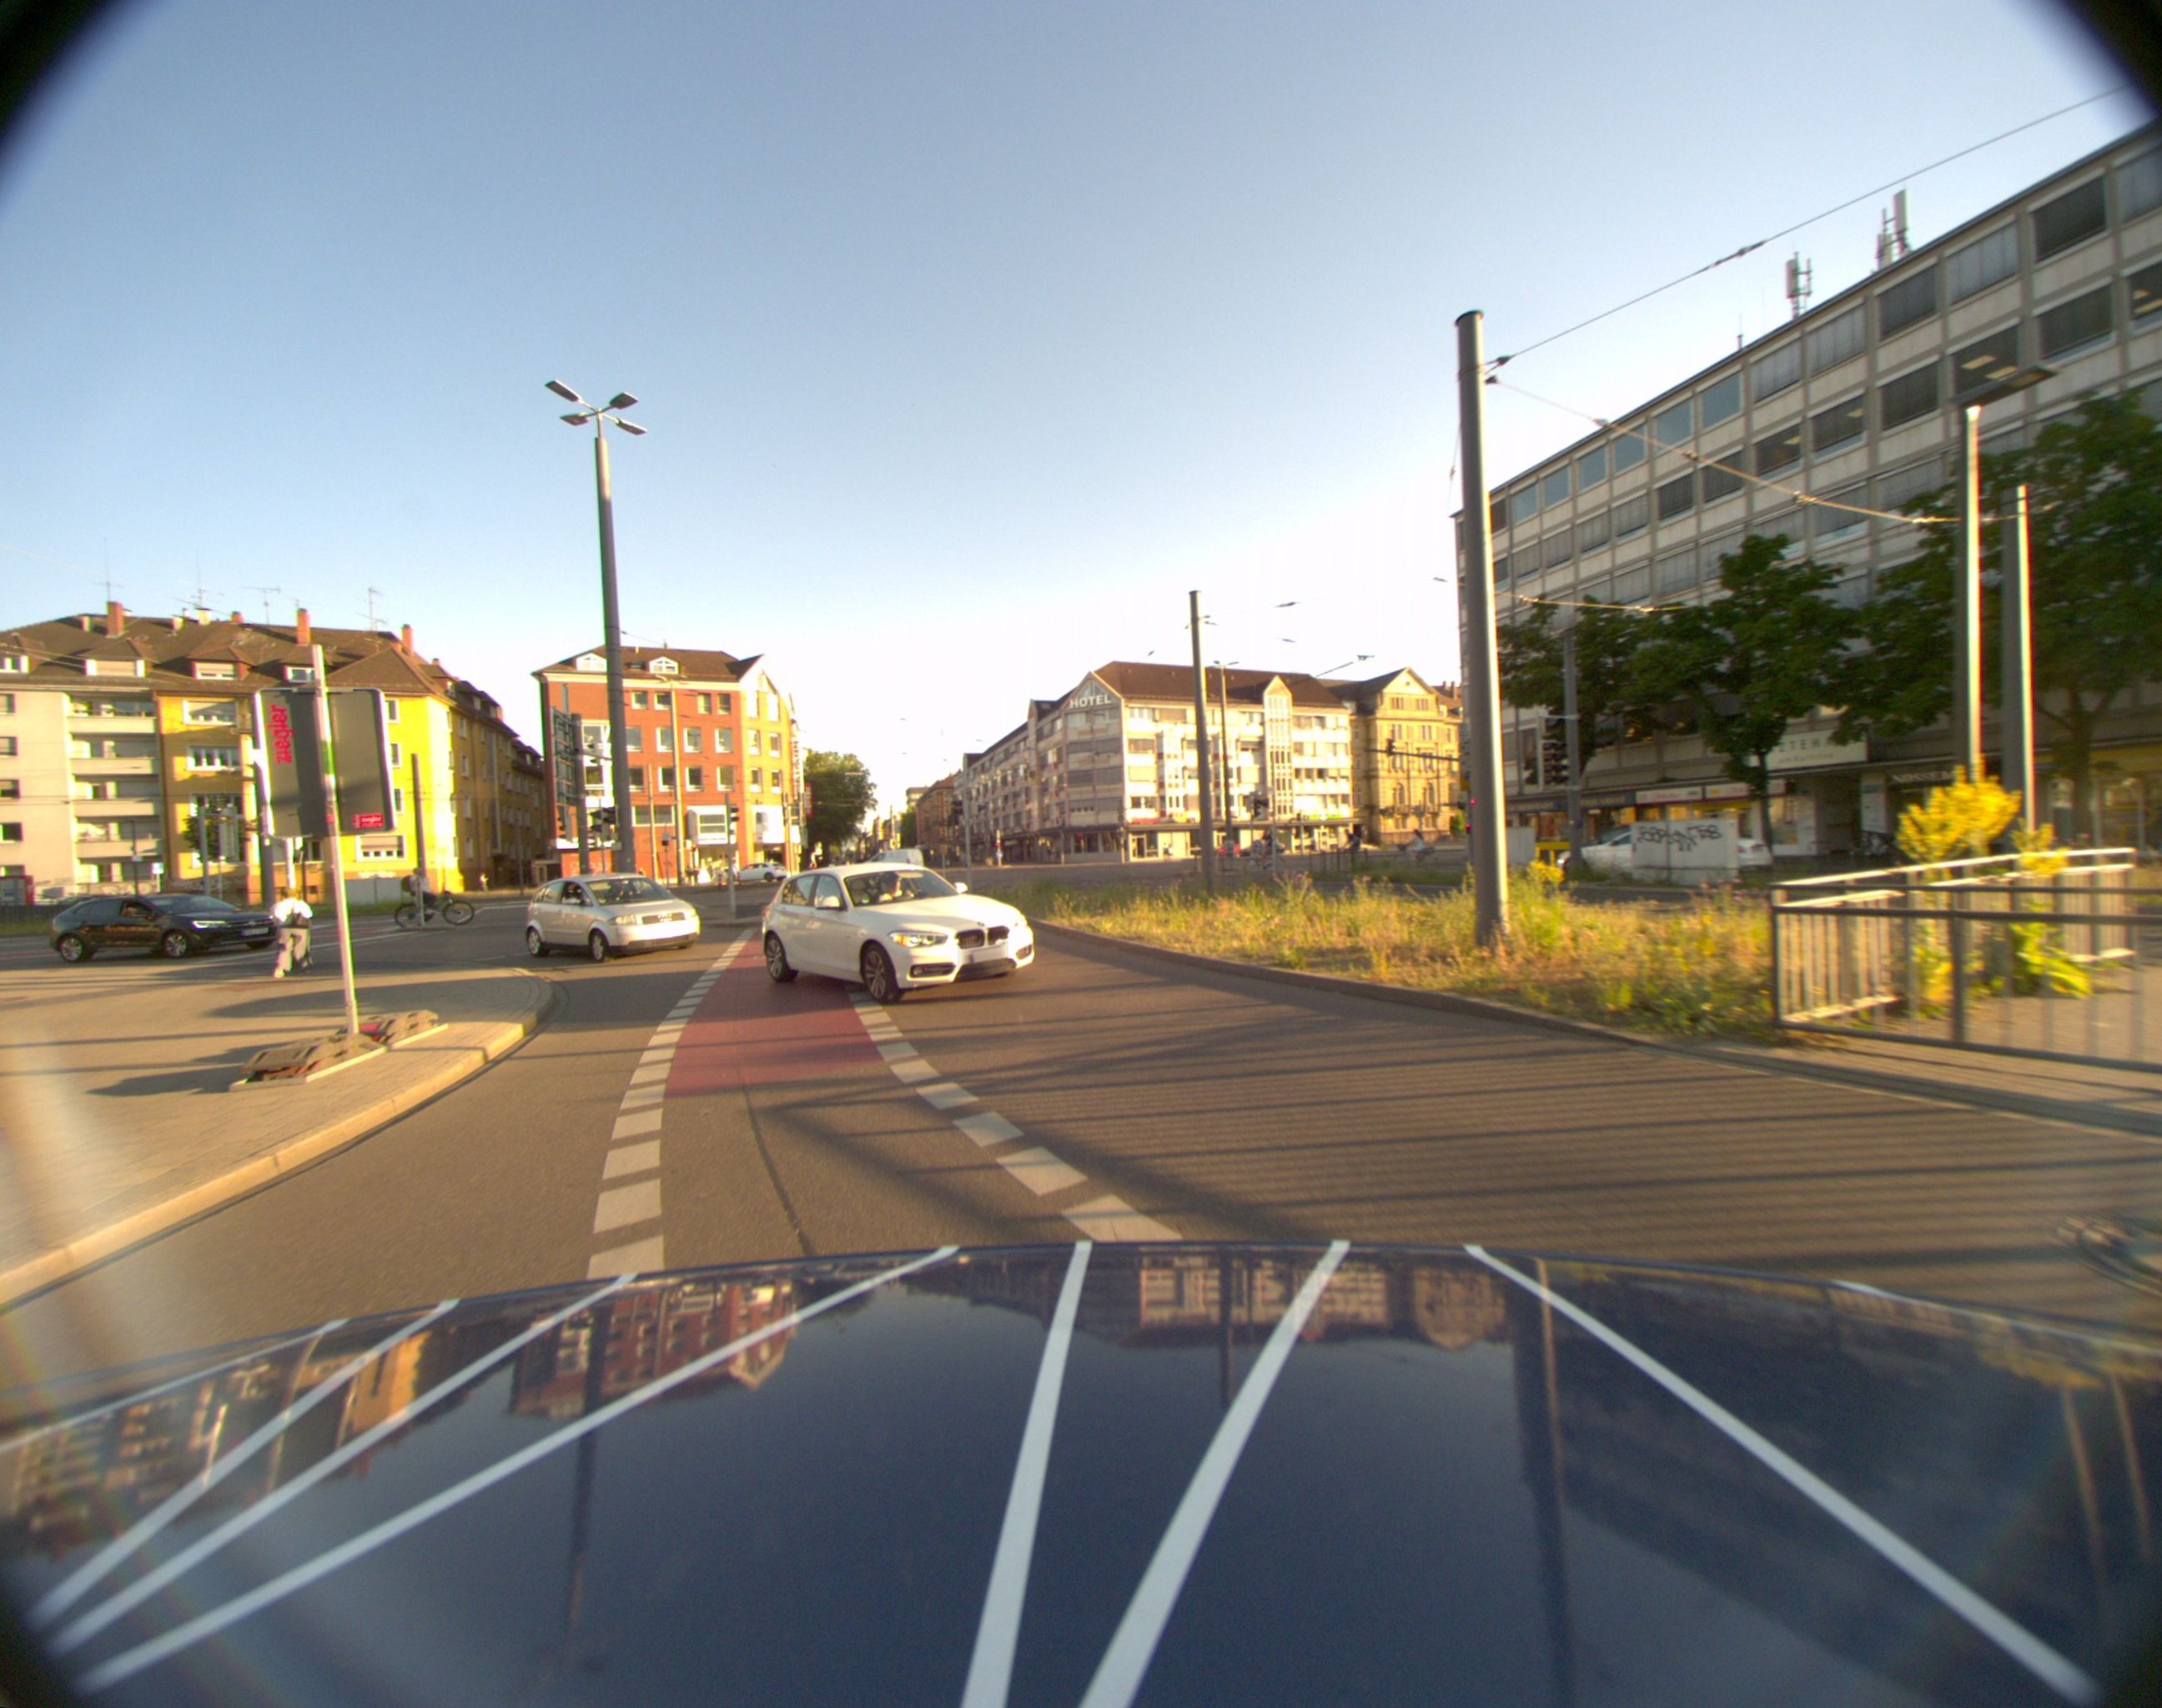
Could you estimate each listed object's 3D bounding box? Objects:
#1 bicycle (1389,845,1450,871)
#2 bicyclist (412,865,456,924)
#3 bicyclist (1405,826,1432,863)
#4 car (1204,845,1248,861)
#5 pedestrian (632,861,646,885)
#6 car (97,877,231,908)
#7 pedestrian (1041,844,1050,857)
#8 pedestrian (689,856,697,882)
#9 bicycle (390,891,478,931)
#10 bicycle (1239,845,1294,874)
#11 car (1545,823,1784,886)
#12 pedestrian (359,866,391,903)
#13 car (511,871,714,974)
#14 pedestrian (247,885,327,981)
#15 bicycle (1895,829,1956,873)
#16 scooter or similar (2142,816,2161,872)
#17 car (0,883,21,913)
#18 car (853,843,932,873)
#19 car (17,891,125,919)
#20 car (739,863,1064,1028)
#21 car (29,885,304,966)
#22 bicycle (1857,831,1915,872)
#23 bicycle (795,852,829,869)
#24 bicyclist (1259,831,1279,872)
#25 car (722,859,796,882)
[{"bbox_3d":[12.723,0.146,28.580,1.949,0.925,0.726,-1,2,43],"label":"bicycle"},{"bbox_3d":[-19.133,1.178,22.472,0.749,1.662,0.595,-4,3,-25],"label":"bicyclist"},{"bbox_3d":[12.686,-0.342,28.574,0.682,1.362,0.717,-1,2,44],"label":"bicyclist"},{"bbox_3d":[13.937,-0.086,73.234,3.901,1.414,1.646,-2,1,-24],"label":"car"},{"bbox_3d":[-34.114,1.428,58.634,0.874,1.768,0.915,-3,2,-30],"label":"pedestrian"},{"bbox_3d":[-54.746,2.280,45.523,4.709,1.495,1.912,-3,1,-32],"label":"car"},{"bbox_3d":[-4.314,-0.428,91.918,0.708,1.540,0.905,-3,2,-22],"label":"pedestrian"},{"bbox_3d":[-26.299,1.020,51.489,0.420,1.698,0.514,-3,2,-25],"label":"pedestrian"},{"bbox_3d":[-19.102,1.670,22.488,1.849,1.017,0.595,-2,1,-26],"label":"bicycle"},{"bbox_3d":[7.377,0.219,30.353,2.055,1.070,0.757,-2,1,10],"label":"bicycle"},{"bbox_3d":[15.456,0.013,20.452,2.043,1.432,4.651,-3,1,-26],"label":"car"},{"bbox_3d":[-30.397,1.318,32.718,0.636,1.532,0.707,-2,2,-5],"label":"pedestrian"},{"bbox_3d":[-8.783,1.185,14.182,3.716,1.553,1.683,-2,3,33],"label":"car"},{"bbox_3d":[-14.026,1.378,13.444,0.690,1.604,0.596,-2,1,-13],"label":"pedestrian"},{"bbox_3d":[24.358,-0.091,21.915,1.638,1.178,0.537,-3,2,-18],"label":"bicycle"},{"bbox_3d":[26.236,-0.251,17.999,1.279,1.314,0.515,-2,1,12],"label":"scooter or similar"},{"bbox_3d":[-66.635,2.728,44.758,4.354,1.695,2.115,-2,1,-24],"label":"car"},{"bbox_3d":[-12.856,0.290,51.750,4.865,1.827,2.003,-2,1,21],"label":"car"},{"bbox_3d":[-62.049,3.097,46.766,3.547,1.412,1.736,-2,1,-24],"label":"car"},{"bbox_3d":[-2.377,0.873,9.249,1.920,1.398,4.292,-4,3,-43],"label":"car"},{"bbox_3d":[-21.720,1.665,18.177,4.387,1.608,1.944,-2,1,4],"label":"car"},{"bbox_3d":[24.277,-0.088,22.912,1.748,1.134,0.665,-4,2,-25],"label":"bicycle"},{"bbox_3d":[-28.828,0.683,81.441,3.310,1.716,1.067,-2,1,-20],"label":"bicycle"},{"bbox_3d":[7.485,-0.096,30.326,0.699,1.603,0.738,-2,1,11],"label":"bicyclist"},{"bbox_3d":[-23.471,1.194,55.398,4.559,1.441,1.816,-2,2,2],"label":"car"}]
